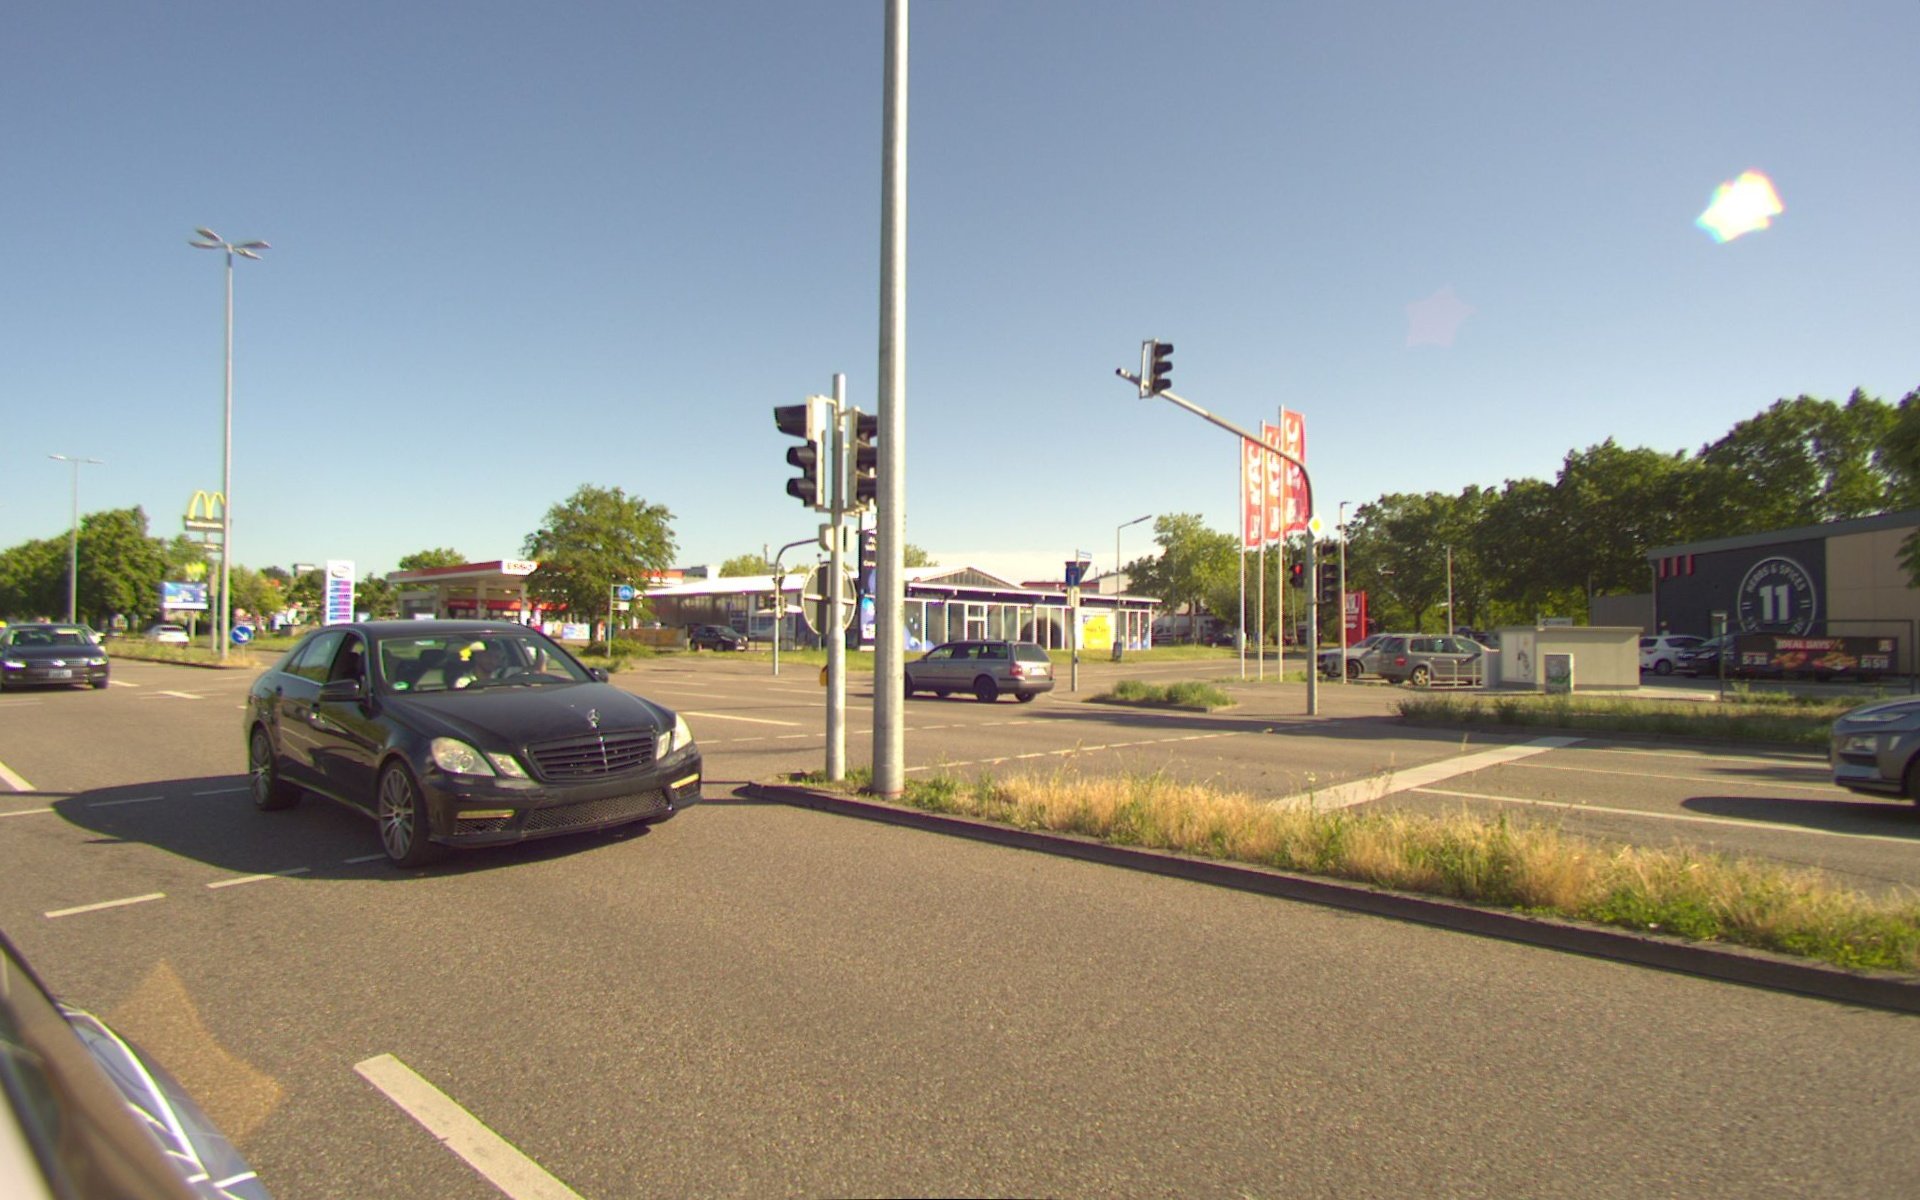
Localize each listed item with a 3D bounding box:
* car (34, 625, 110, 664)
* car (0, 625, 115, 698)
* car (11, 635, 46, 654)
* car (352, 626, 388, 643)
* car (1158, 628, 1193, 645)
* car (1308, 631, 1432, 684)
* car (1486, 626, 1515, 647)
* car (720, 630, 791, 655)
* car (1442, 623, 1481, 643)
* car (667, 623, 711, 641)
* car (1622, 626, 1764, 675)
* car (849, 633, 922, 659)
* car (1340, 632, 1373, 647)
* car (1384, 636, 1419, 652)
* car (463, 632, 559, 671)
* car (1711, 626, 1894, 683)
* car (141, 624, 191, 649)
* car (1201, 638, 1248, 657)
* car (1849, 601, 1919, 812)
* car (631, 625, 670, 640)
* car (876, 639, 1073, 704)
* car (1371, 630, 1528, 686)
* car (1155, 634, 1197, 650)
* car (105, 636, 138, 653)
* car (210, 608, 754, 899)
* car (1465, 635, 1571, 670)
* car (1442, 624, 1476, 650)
[{"bbox_3d":[-35.722,1.768,40.681,4.115,1.466,1.767,-1,-3,42],"label":"car"},{"bbox_3d":[-20.379,1.298,22.502,4.264,1.464,1.824,-1,-2,42],"label":"car"},{"bbox_3d":[-75.214,3.587,81.718,3.663,1.443,1.677,-1,-4,42],"label":"car"},{"bbox_3d":[-58.108,3.416,99.645,4.116,1.625,1.740,-1,-4,40],"label":"car"},{"bbox_3d":[27.149,4.602,127.534,4.063,2.109,1.900,1,-3,1],"label":"car"},{"bbox_3d":[15.055,2.095,37.298,3.778,1.865,1.847,0,-1,1],"label":"car"},{"bbox_3d":[46.239,3.112,86.649,1.898,1.681,4.264,0,-3,24],"label":"car"},{"bbox_3d":[-11.832,2.442,58.488,4.116,1.335,1.876,-1,-4,40],"label":"car"},{"bbox_3d":[50.087,3.327,101.240,2.077,1.813,4.775,1,-3,8],"label":"car"},{"bbox_3d":[-25.550,3.046,95.357,4.116,1.603,1.876,-1,-4,40],"label":"car"},{"bbox_3d":[27.404,1.882,37.929,3.940,1.762,1.885,0,-2,-3],"label":"car"},{"bbox_3d":[-4.318,2.684,58.917,1.900,1.443,4.063,-1,-4,41],"label":"car"},{"bbox_3d":[52.016,5.204,132.895,2.069,1.813,4.793,1,-3,-6],"label":"car"},{"bbox_3d":[52.933,5.320,121.397,2.072,1.813,4.786,1,-2,0],"label":"car"},{"bbox_3d":[-18.360,2.082,41.319,4.194,1.537,1.973,-2,-3,41],"label":"car"},{"bbox_3d":[26.565,1.694,32.024,4.181,1.674,1.896,0,-1,-1],"label":"car"},{"bbox_3d":[-53.610,2.446,68.348,4.265,1.612,1.875,-1,-4,42],"label":"car"},{"bbox_3d":[24.026,4.315,92.042,3.694,1.681,1.882,-1,-3,44],"label":"car"},{"bbox_3d":[9.422,0.860,7.525,4.169,1.654,1.855,-1,-4,41],"label":"car"},{"bbox_3d":[-30.457,3.234,99.546,4.116,1.451,1.750,-1,-3,40],"label":"car"},{"bbox_3d":[0.280,1.669,24.653,4.621,1.387,1.973,-1,-3,41],"label":"car"},{"bbox_3d":[15.651,1.839,32.507,4.073,1.674,1.896,0,-1,-1],"label":"car"},{"bbox_3d":[22.206,4.317,104.147,4.087,1.443,1.889,1,-3,19],"label":"car"},{"bbox_3d":[-79.306,4.211,95.682,4.457,1.443,1.677,-1,-4,42],"label":"car"},{"bbox_3d":[-3.825,0.847,7.590,4.916,1.494,1.938,-1,-2,42],"label":"car"},{"bbox_3d":[26.363,2.451,47.879,3.940,1.530,1.885,0,-1,-3],"label":"car"},{"bbox_3d":[36.945,2.756,74.905,1.903,1.857,4.254,0,-3,31],"label":"car"}]
